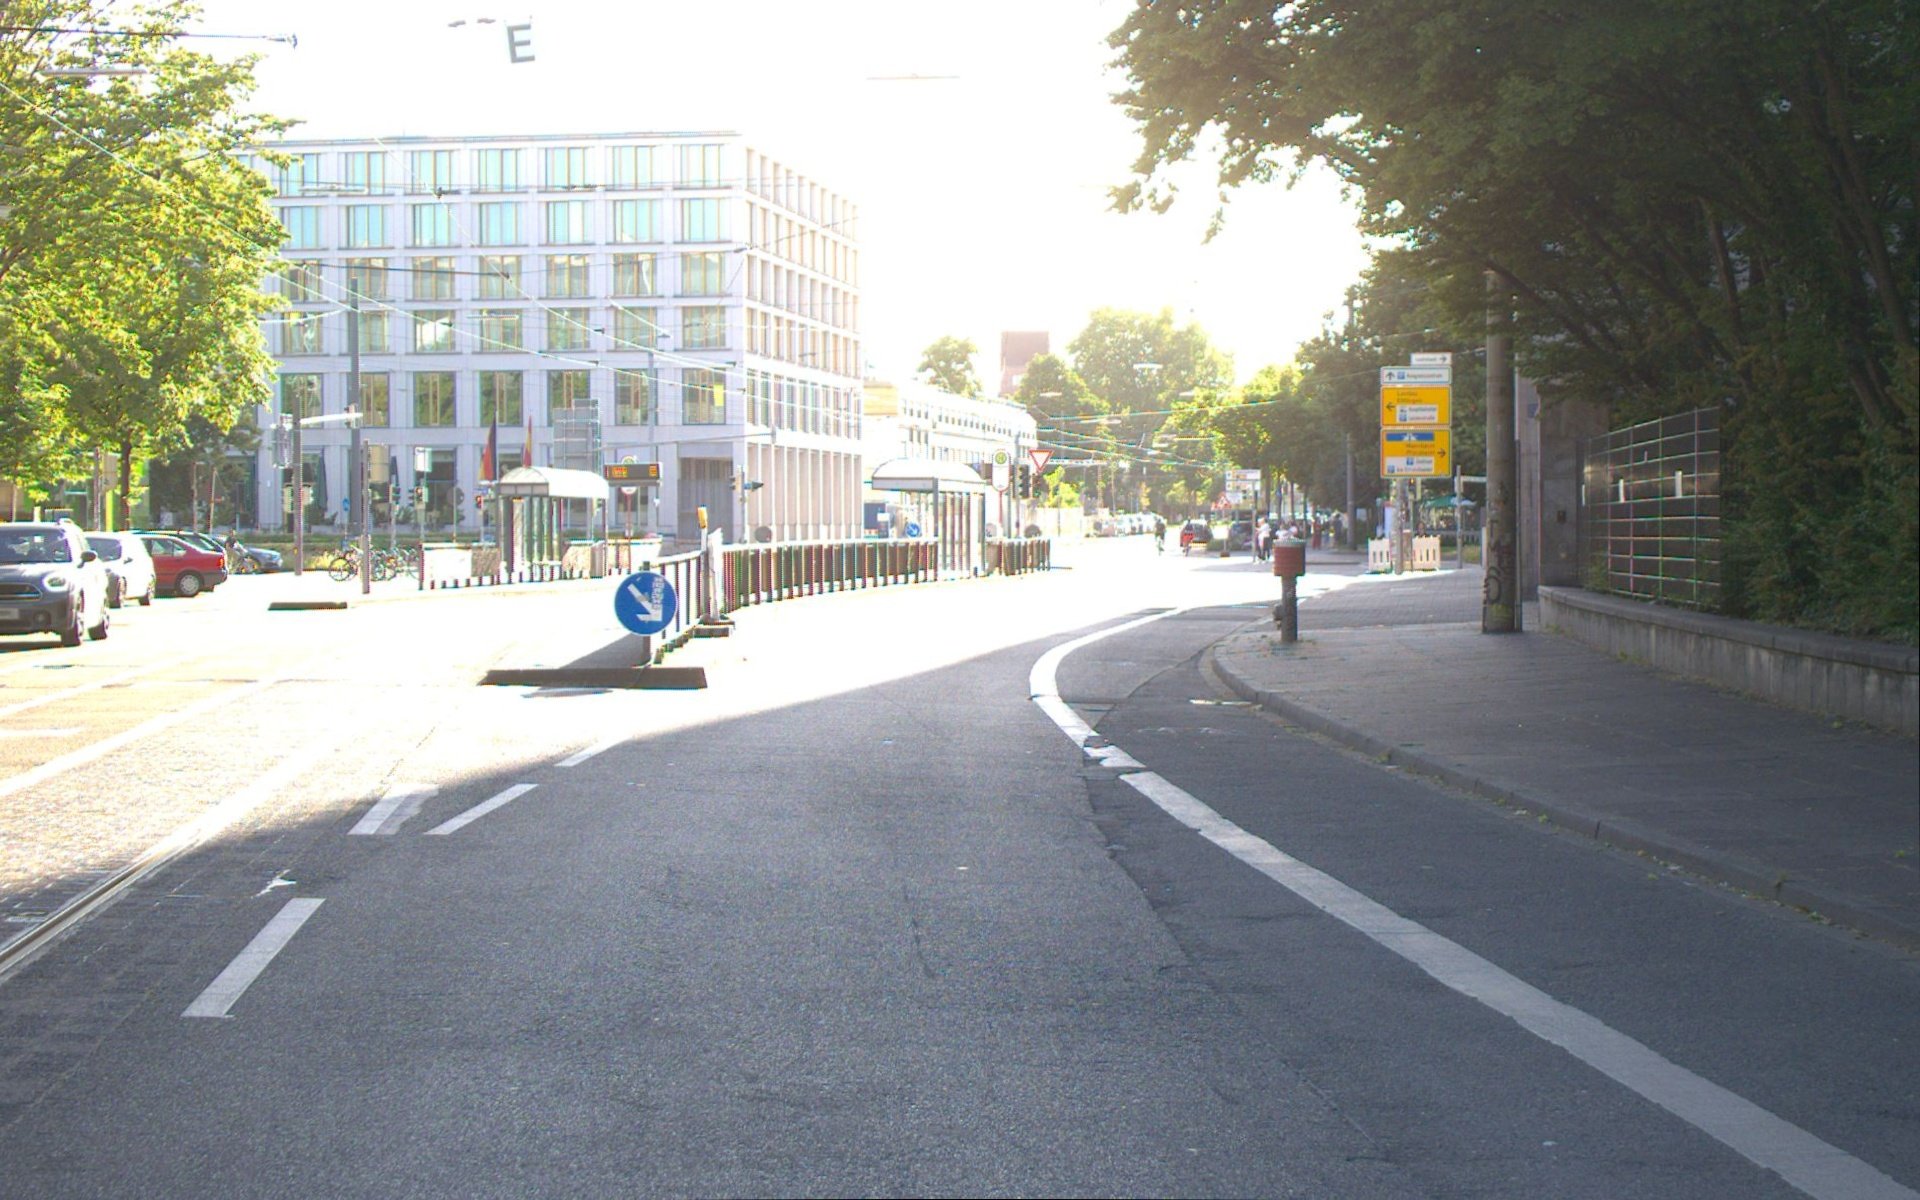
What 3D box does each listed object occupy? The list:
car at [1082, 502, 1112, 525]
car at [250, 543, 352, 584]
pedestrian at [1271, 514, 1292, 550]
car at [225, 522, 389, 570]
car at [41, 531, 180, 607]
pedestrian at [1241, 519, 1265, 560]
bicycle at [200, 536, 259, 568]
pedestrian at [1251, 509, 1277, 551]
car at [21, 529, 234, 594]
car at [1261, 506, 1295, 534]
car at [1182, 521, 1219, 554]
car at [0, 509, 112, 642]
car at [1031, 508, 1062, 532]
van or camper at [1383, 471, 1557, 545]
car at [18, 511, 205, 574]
[{"bbox_3d":[10.373,-6.540,259.586,1.820,1.706,3.804,-1,1,8],"label":"car"},{"bbox_3d":[-25.082,-1.400,130.966,3.531,1.501,1.522,0,1,7],"label":"car"},{"bbox_3d":[13.889,-2.929,148.589,0.762,1.553,0.588,-1,1,-7],"label":"pedestrian"},{"bbox_3d":[-19.316,-1.577,101.758,4.500,1.346,1.590,1,0,-24],"label":"car"},{"bbox_3d":[-16.871,-0.645,68.451,1.706,1.405,4.292,1,1,0],"label":"car"},{"bbox_3d":[12.661,-2.620,148.572,0.847,1.778,0.780,-1,1,-7],"label":"pedestrian"},{"bbox_3d":[-26.647,-1.747,125.382,1.924,1.118,0.790,0,1,15],"label":"bicycle"},{"bbox_3d":[12.962,-2.991,146.592,0.966,1.778,0.780,-1,1,-7],"label":"pedestrian"},{"bbox_3d":[-19.032,-0.871,78.578,4.499,1.421,1.874,1,0,-21],"label":"car"},{"bbox_3d":[17.827,-4.465,192.585,1.685,1.495,3.507,1,1,8],"label":"car"},{"bbox_3d":[13.172,-3.427,188.021,1.685,1.731,3.507,1,1,8],"label":"car"},{"bbox_3d":[-12.001,-0.348,44.133,1.870,1.595,4.429,-1,2,-10],"label":"car"},{"bbox_3d":[6.264,-5.804,248.285,1.820,1.706,3.804,-1,1,8],"label":"car"},{"bbox_3d":[20.759,-3.730,139.822,6.712,2.851,2.909,1,1,13],"label":"van or camper"},{"bbox_3d":[-22.059,-1.490,89.373,4.500,1.564,1.590,1,0,-24],"label":"car"}]
